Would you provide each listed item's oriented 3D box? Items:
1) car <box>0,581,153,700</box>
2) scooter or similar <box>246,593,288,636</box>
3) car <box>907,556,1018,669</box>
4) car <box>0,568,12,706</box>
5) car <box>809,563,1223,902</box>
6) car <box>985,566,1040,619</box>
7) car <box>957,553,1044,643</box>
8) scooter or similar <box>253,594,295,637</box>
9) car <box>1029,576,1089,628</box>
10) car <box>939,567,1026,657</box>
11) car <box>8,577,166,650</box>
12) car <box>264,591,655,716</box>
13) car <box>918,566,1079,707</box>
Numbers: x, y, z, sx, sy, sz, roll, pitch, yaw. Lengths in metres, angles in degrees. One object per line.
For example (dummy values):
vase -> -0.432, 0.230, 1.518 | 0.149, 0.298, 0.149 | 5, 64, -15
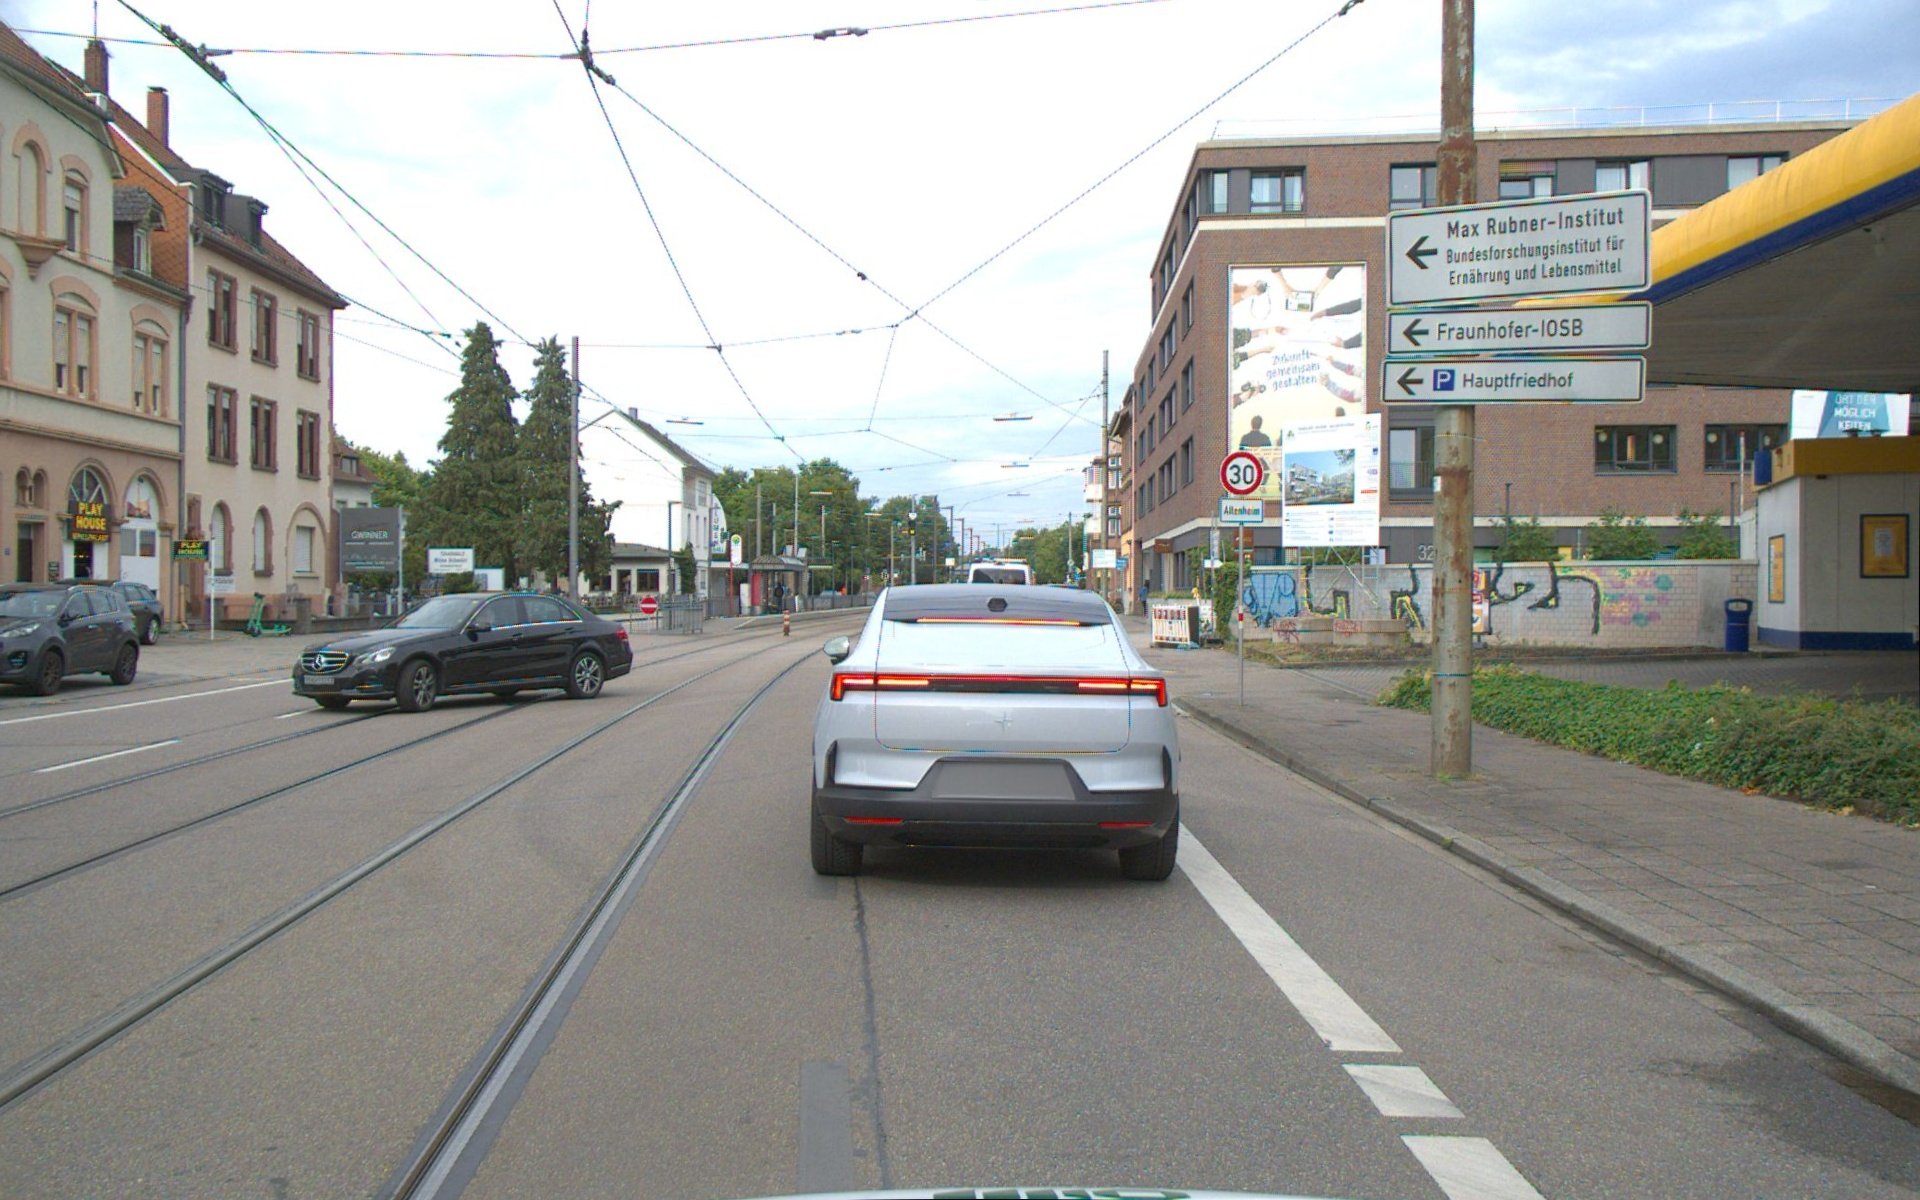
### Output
car -> -14.822, 0.595, 26.559 | 1.808, 1.748, 4.190 | 1, 0, -3
scooter or similar -> -19.704, 0.411, 47.048 | 1.041, 1.209, 0.314 | 2, -1, -37
car -> -0.017, 0.237, 32.640 | 1.954, 2.049, 3.998 | 1, 0, -3
car -> -14.250, 0.485, 20.737 | 1.952, 1.920, 4.996 | 1, 0, -2
car -> 0.105, 0.627, 9.924 | 1.943, 1.577, 4.179 | 1, 0, -5
car -> 2.246, -0.306, 71.942 | 2.096, 2.183, 4.741 | 1, 0, -2
car -> 1.125, -0.046, 48.528 | 2.172, 2.465, 4.948 | 1, 0, -3
scooter or similar -> -19.361, 0.443, 46.699 | 1.041, 1.209, 0.314 | 2, -1, -37
car -> 3.697, 0.084, 62.194 | 1.837, 1.855, 4.094 | 1, 0, -2
car -> 0.498, 0.301, 40.461 | 1.953, 2.049, 3.999 | 1, 0, -2
car -> -19.747, 0.307, 37.601 | 1.718, 1.527, 3.744 | 1, 0, -3
car -> -6.479, 0.614, 21.963 | 1.913, 1.452, 4.870 | 0, 0, 35
car -> 0.457, 0.482, 23.360 | 1.930, 1.787, 3.835 | 1, 0, -4
